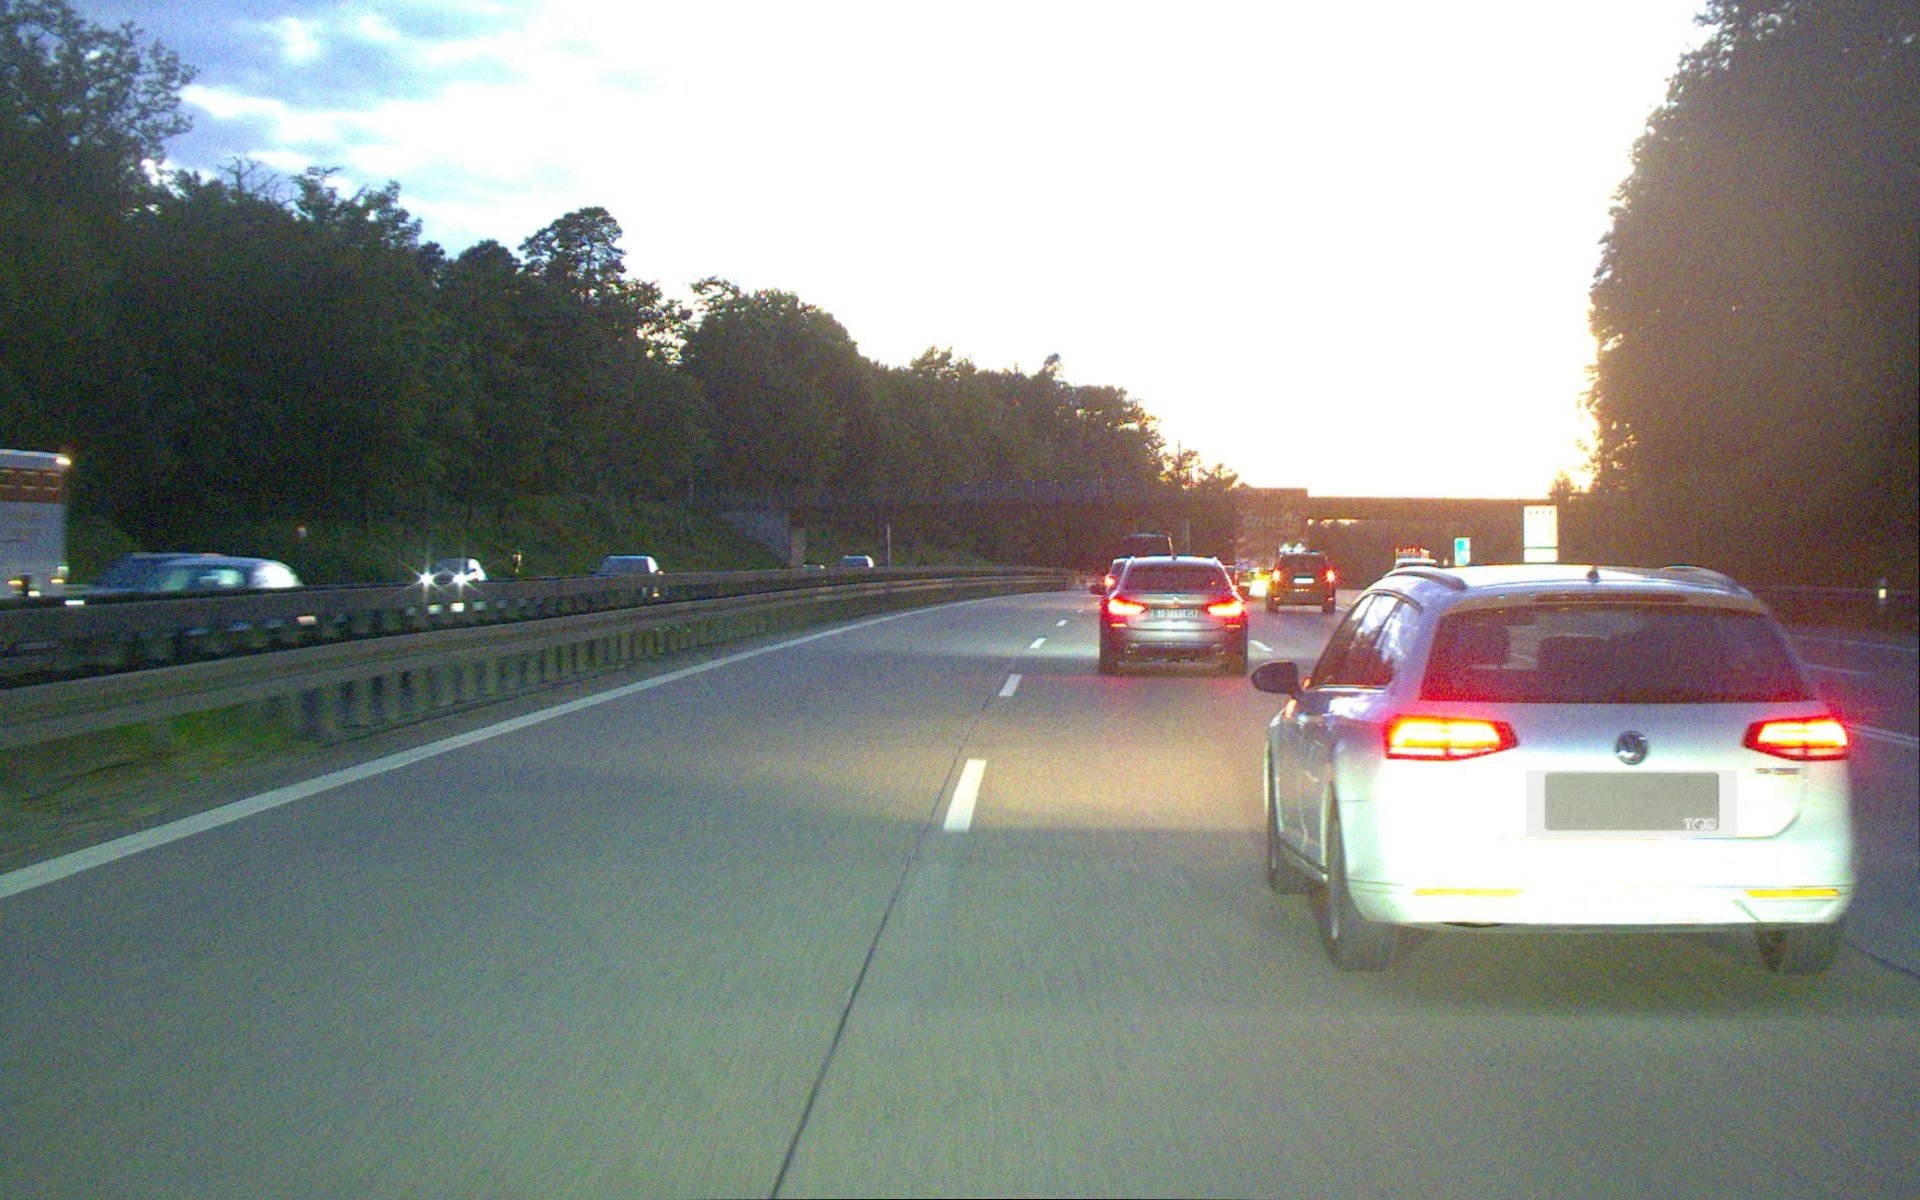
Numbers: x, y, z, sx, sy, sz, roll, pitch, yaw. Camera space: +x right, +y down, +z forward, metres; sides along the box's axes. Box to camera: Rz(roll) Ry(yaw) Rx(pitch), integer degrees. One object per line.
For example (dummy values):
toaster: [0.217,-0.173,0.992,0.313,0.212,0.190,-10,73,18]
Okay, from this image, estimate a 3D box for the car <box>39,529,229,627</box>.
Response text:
car: [-12.318,-0.353,51.540,1.738,1.406,4.807,0,1,-1]

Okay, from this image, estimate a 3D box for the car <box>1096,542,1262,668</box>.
car: [2.774,0.022,44.564,1.909,1.532,5.231,0,1,1]

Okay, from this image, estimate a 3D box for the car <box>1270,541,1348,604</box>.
car: [9.450,-0.725,92.841,1.903,1.638,5.050,0,0,8]

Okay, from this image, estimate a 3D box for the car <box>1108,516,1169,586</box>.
car: [6.622,-1.796,128.007,2.166,2.411,5.563,1,-1,3]

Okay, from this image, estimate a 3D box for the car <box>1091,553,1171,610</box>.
car: [4.446,-0.489,89.681,1.859,1.437,3.720,0,1,-1]

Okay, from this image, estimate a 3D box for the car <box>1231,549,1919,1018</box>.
car: [2.195,0.553,13.609,1.809,1.461,5.132,0,1,0]

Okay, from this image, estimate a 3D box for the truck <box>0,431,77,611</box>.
truck: [-22.621,-1.774,76.828,2.645,3.997,10.544,0,1,2]

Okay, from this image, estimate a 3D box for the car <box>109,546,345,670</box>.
car: [-8.878,0.059,41.990,1.993,1.431,4.373,0,1,-1]

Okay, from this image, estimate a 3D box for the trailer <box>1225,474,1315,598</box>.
trailer: [11.094,-2.223,123.838,2.907,4.087,10.355,1,-1,4]

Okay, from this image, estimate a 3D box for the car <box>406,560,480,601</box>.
car: [-19.619,-0.753,130.611,1.851,1.491,4.594,0,1,3]

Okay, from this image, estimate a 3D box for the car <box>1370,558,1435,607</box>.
car: [13.866,-0.539,107.656,1.860,1.437,4.110,0,-1,10]
